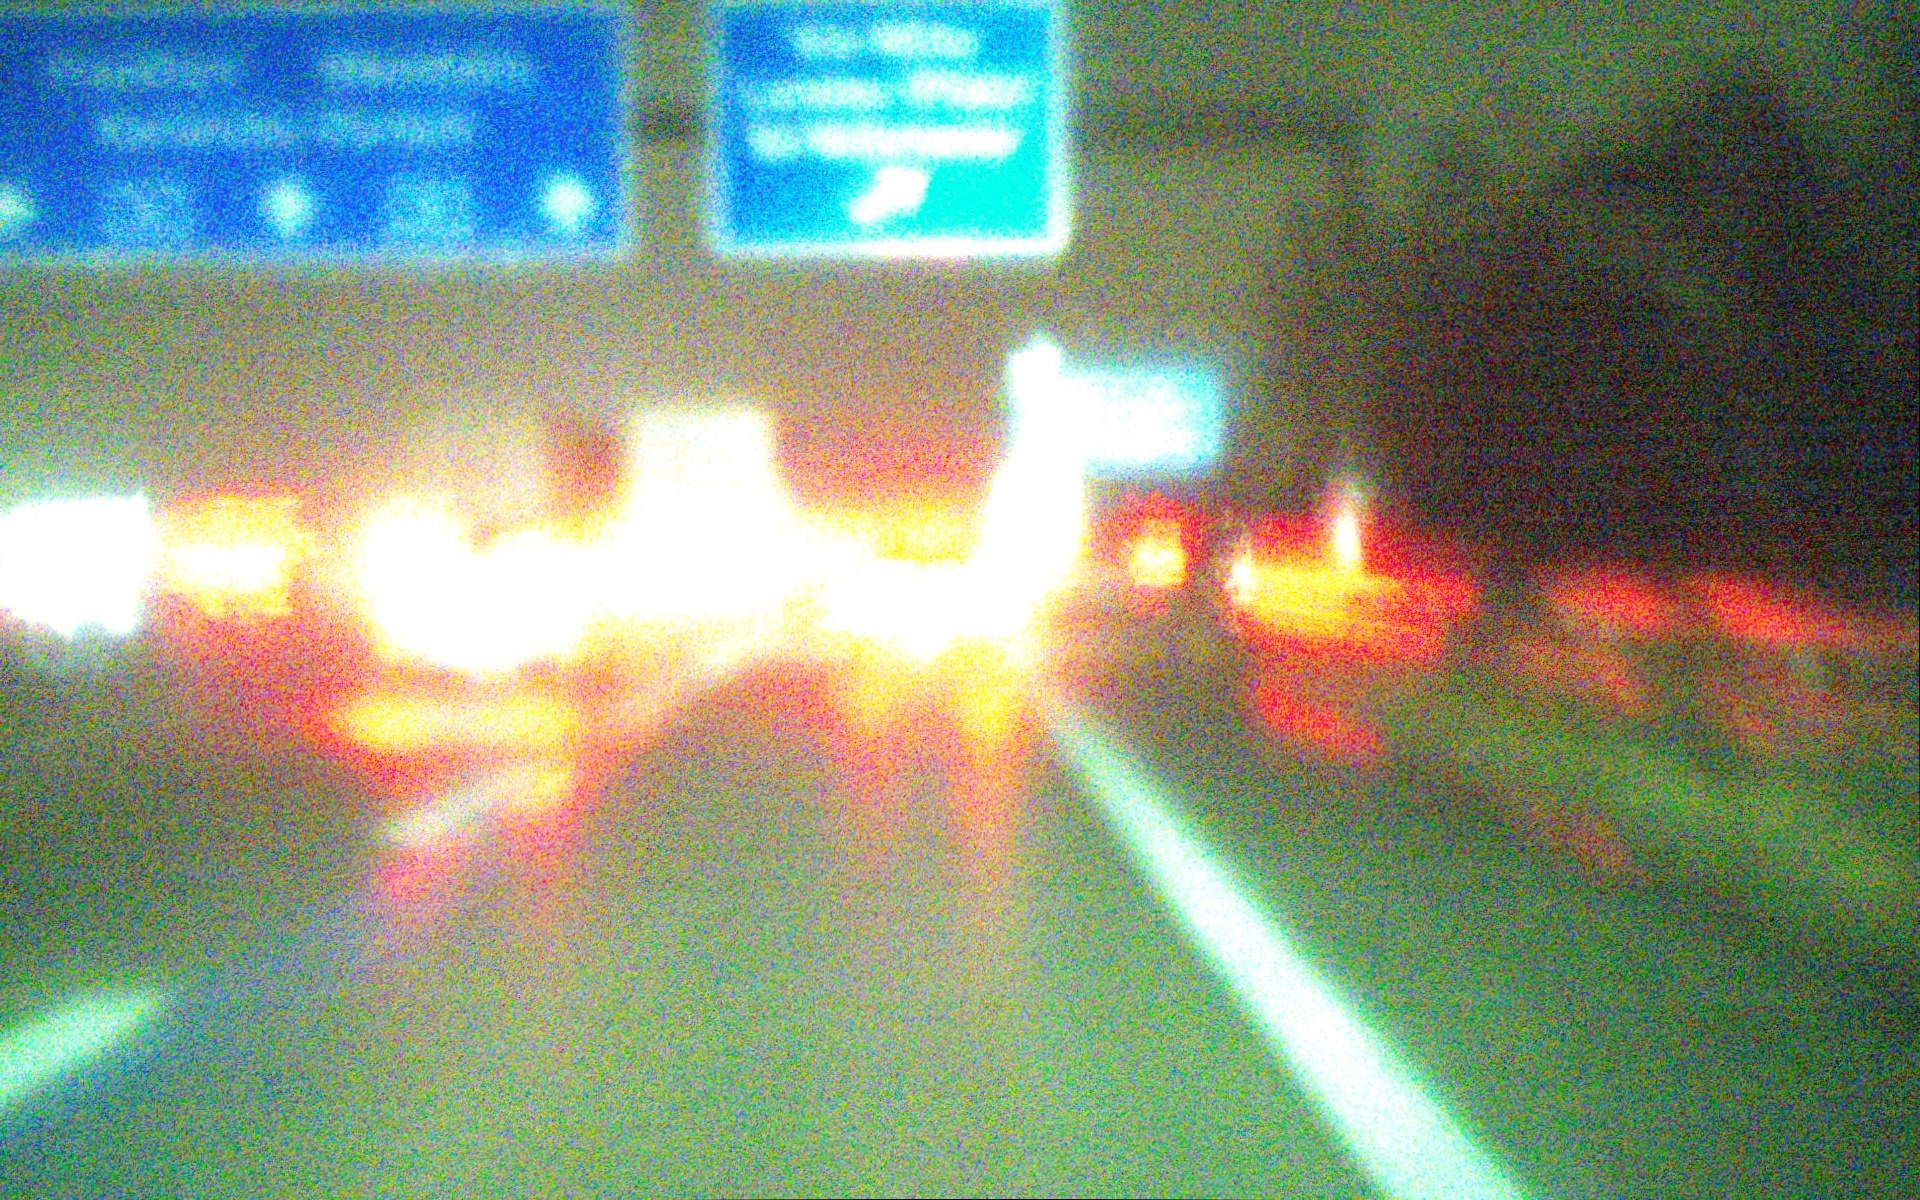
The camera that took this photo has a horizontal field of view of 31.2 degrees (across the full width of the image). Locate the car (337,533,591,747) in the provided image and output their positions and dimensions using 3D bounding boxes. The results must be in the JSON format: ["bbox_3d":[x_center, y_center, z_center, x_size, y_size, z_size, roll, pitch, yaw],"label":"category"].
[{"bbox_3d":[-4.998,0.356,35.258,2.125,2.007,4.646,1,1,-3],"label":"car"}]

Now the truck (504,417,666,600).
[{"bbox_3d":[-12.199,-2.937,113.030,4.210,5.629,11.468,1,1,-1],"label":"truck"}]

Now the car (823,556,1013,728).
[{"bbox_3d":[-0.470,0.431,38.727,1.993,1.801,4.000,1,1,-1],"label":"car"}]

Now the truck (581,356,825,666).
[{"bbox_3d":[-4.958,-1.708,69.131,4.210,5.629,11.468,1,1,-1],"label":"truck"}]

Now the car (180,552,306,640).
[{"bbox_3d":[-13.636,-0.092,65.557,1.993,1.590,4.001,1,1,-7],"label":"car"}]

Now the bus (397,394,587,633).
[{"bbox_3d":[-9.518,-1.722,71.023,3.096,4.492,10.915,1,1,-4],"label":"bus"}]
